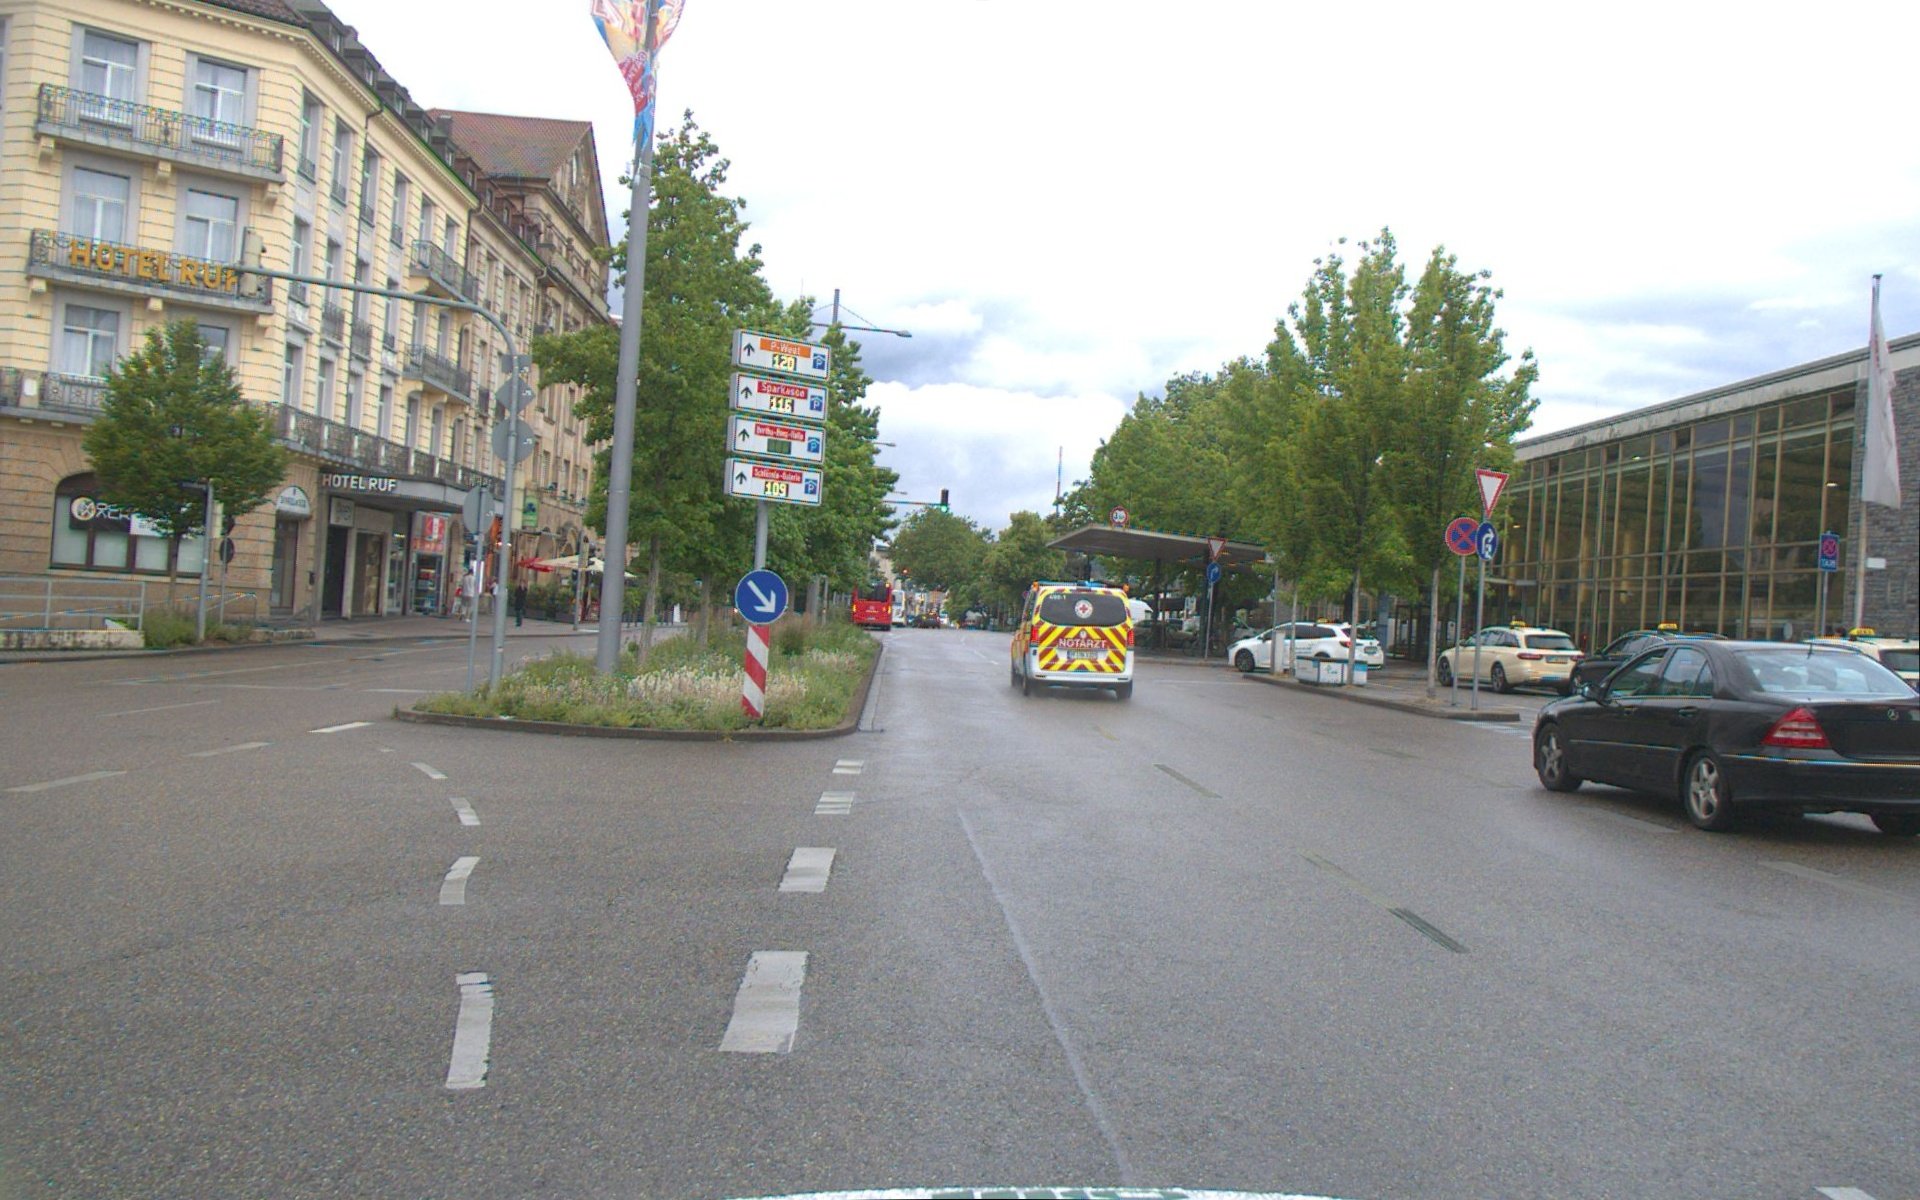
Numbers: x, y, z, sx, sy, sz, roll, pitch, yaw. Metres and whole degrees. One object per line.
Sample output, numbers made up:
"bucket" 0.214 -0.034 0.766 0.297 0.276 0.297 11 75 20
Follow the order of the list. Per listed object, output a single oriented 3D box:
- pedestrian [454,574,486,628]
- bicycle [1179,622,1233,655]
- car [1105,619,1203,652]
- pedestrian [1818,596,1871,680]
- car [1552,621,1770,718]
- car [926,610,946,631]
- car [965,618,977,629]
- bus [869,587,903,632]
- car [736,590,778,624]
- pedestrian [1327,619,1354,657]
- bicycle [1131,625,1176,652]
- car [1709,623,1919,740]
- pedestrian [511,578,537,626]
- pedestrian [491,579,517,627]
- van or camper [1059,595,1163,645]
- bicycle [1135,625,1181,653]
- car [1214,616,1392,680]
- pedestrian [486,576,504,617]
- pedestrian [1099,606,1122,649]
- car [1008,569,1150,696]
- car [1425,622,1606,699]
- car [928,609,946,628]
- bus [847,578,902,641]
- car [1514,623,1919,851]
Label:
"pedestrian" -17.095 0.036 57.688 0.861 1.844 0.750 1 -1 -2
"bicycle" 8.522 1.331 57.281 1.790 1.074 0.420 1 -1 -2
"car" 8.975 1.643 76.592 4.126 1.348 1.828 3 -1 -22
"pedestrian" 17.734 0.755 33.162 0.784 1.655 0.718 0 -1 44
"car" 13.723 1.305 32.758 1.954 1.627 4.955 3 0 -3
"car" -2.444 2.035 166.712 1.953 2.049 3.998 1 -1 -2
"car" 1.584 3.423 239.189 1.562 1.588 3.649 1 -1 -2
"bus" -6.666 0.905 147.718 2.749 3.812 10.437 1 -1 -3
"car" -12.637 0.451 103.052 1.953 2.049 5.000 1 -1 0
"pedestrian" 16.057 1.591 69.789 0.849 1.586 0.812 1 -1 -9
"bicycle" 7.756 1.547 66.208 1.800 1.074 0.418 1 -1 -20
"car" 14.111 1.232 26.406 1.953 1.627 4.956 1 0 -1
"pedestrian" -15.556 0.074 59.023 0.668 1.693 0.807 1 -1 -2
"pedestrian" -16.271 0.098 59.005 0.667 1.693 0.807 1 -1 1
"van or camper" 8.855 1.182 97.066 5.881 2.811 2.177 2 -1 -29
"bicycle" 7.879 1.543 65.765 1.800 1.074 0.418 1 -1 -20
"car" 9.394 1.296 45.574 1.748 1.573 4.706 3 -1 -41
"pedestrian" -19.109 -0.135 67.974 0.654 1.693 0.535 1 -1 -10
"pedestrian" 6.710 1.233 73.688 0.839 1.867 1.189 2 -2 -2
"car" 2.037 0.566 29.818 1.953 2.049 5.059 1 -1 -3
"car" 13.004 1.372 39.095 1.957 1.627 4.947 1 0 -9
"car" -2.528 2.024 182.476 1.953 2.049 3.998 1 -1 -2
"bus" -5.840 0.685 112.642 3.474 4.049 11.163 1 -1 -3
"car" 6.189 0.952 13.255 1.662 1.491 4.446 1 -1 -5
